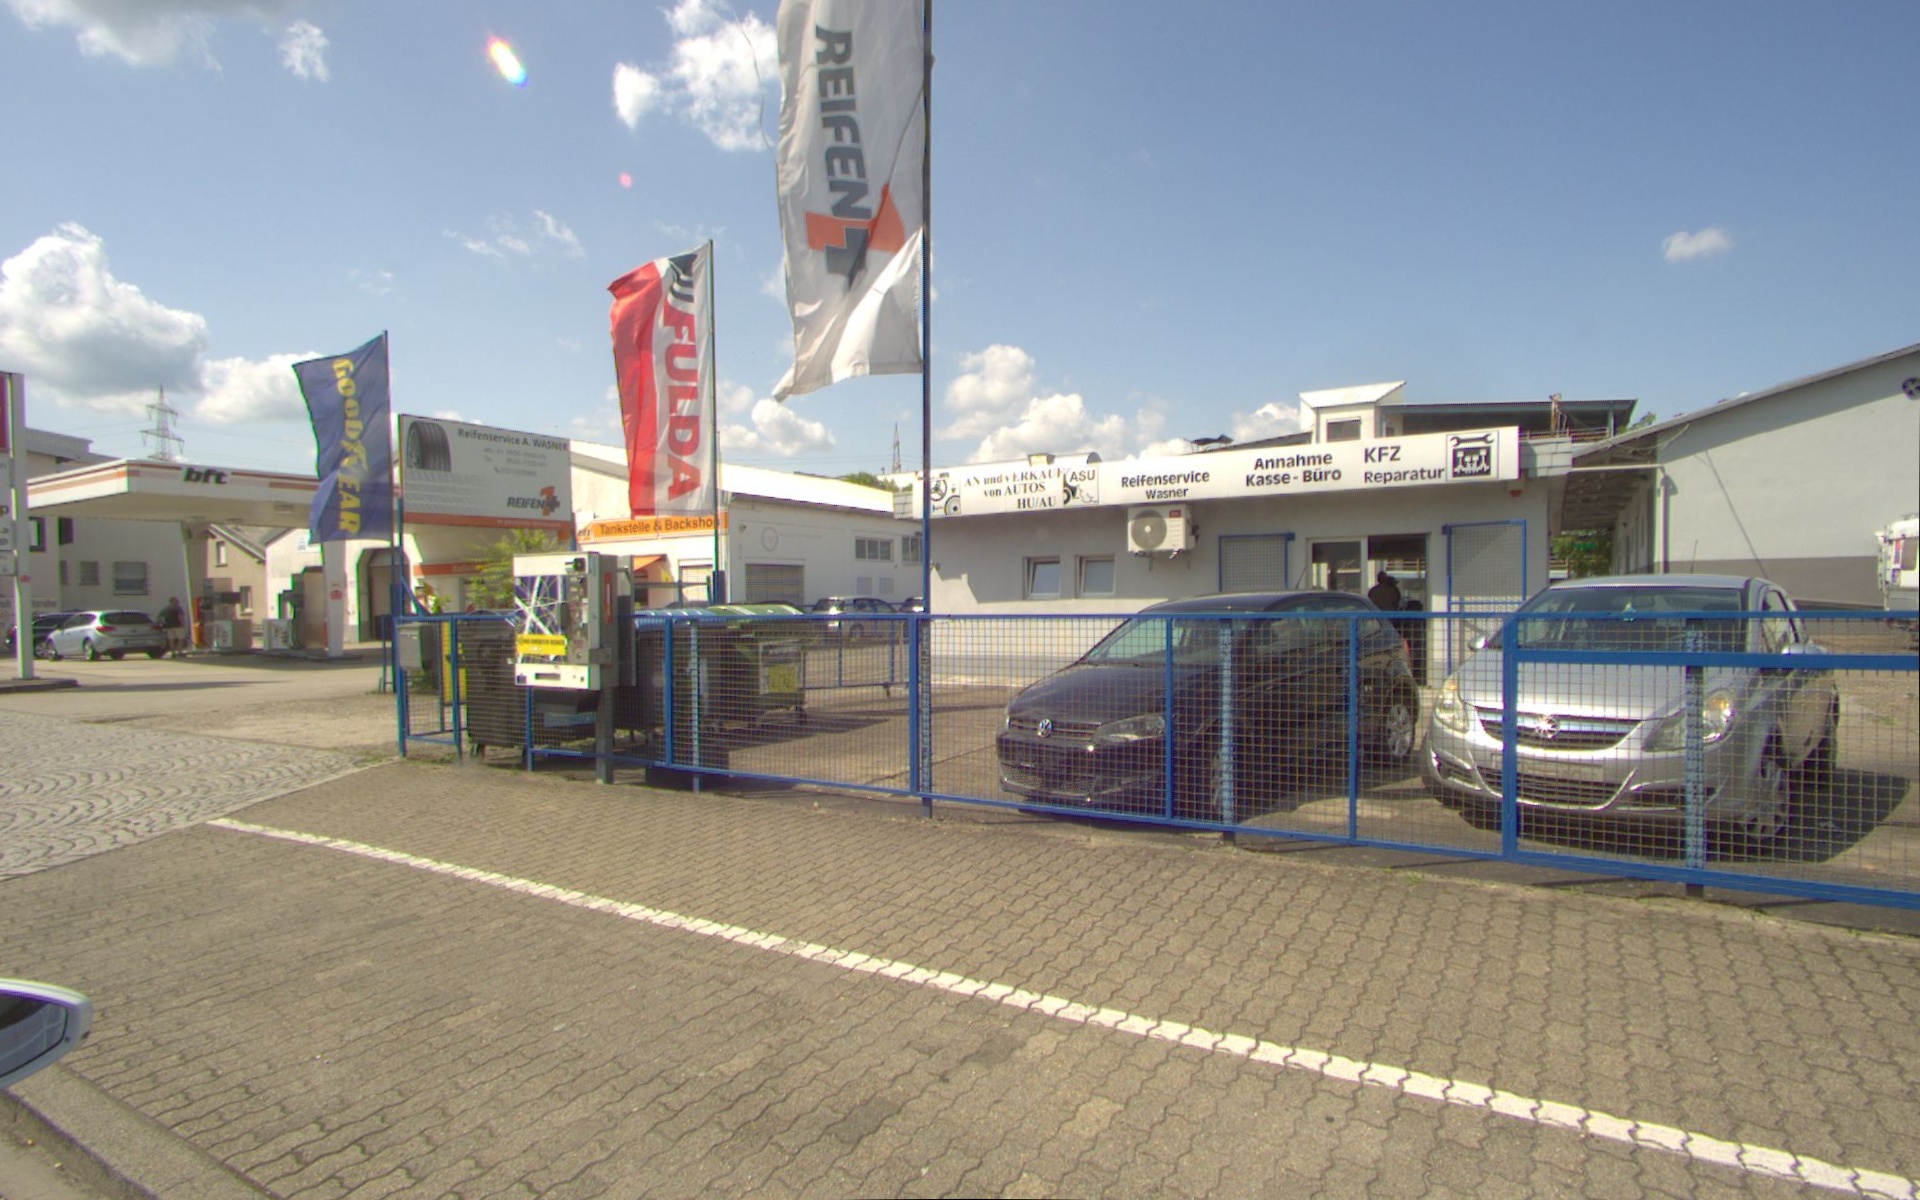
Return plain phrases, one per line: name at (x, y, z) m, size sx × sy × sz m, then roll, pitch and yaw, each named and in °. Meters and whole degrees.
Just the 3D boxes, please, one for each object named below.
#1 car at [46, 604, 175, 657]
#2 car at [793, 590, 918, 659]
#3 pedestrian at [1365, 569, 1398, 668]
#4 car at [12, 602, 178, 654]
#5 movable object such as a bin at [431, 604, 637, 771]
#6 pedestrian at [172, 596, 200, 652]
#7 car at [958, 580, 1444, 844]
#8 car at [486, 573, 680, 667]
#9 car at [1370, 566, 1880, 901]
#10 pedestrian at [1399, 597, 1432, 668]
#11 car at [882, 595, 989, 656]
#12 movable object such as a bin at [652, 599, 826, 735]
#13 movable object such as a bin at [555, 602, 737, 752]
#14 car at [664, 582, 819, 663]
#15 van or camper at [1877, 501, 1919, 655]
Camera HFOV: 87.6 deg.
car at (-25.834, 0.887, 30.436) m, size 3.950 × 1.499 × 1.829 m, roll -1°, pitch 1°, yaw 31°
car at (-3.265, 0.726, 31.991) m, size 1.971 × 2.040 × 3.979 m, roll 0°, pitch 0°, yaw 32°
pedestrian at (7.379, 0.321, 17.526) m, size 0.480 × 1.710 × 0.499 m, roll 0°, pitch 1°, yaw 30°
car at (-30.029, 0.935, 34.871) m, size 1.664 × 1.646 × 4.089 m, roll 0°, pitch 0°, yaw 37°
movable object such as a bin at (-4.131, 0.782, 9.748) m, size 1.434 × 1.473 × 1.224 m, roll 0°, pitch 1°, yaw 31°
pedestrian at (-23.740, 0.727, 30.717) m, size 0.628 × 1.705 × 0.618 m, roll -1°, pitch 1°, yaw -36°
car at (2.016, 0.625, 7.652) m, size 3.962 × 1.499 × 1.705 m, roll -1°, pitch 1°, yaw -43°
car at (-8.913, 0.434, 23.985) m, size 1.971 × 2.040 × 3.979 m, roll 0°, pitch 0°, yaw 32°
car at (4.503, 0.585, 6.515) m, size 4.104 × 1.499 × 1.787 m, roll -1°, pitch 0°, yaw -42°
pedestrian at (7.980, 0.560, 17.529) m, size 0.480 × 1.229 × 0.499 m, roll 0°, pitch 1°, yaw 30°
car at (-0.805, 0.861, 35.880) m, size 1.971 × 2.040 × 3.979 m, roll 0°, pitch 0°, yaw 32°
movable object such as a bin at (-2.605, 0.741, 11.903) m, size 1.433 × 1.473 × 1.427 m, roll 0°, pitch 1°, yaw 31°
movable object such as a bin at (-3.370, 0.773, 10.788) m, size 1.434 × 1.473 × 1.224 m, roll 0°, pitch 1°, yaw 31°
car at (-5.948, 0.569, 27.639) m, size 1.971 × 2.040 × 3.979 m, roll 0°, pitch 0°, yaw 32°
van or camper at (21.347, -0.460, 19.326) m, size 4.983 × 3.002 × 2.276 m, roll 0°, pitch 1°, yaw 31°
